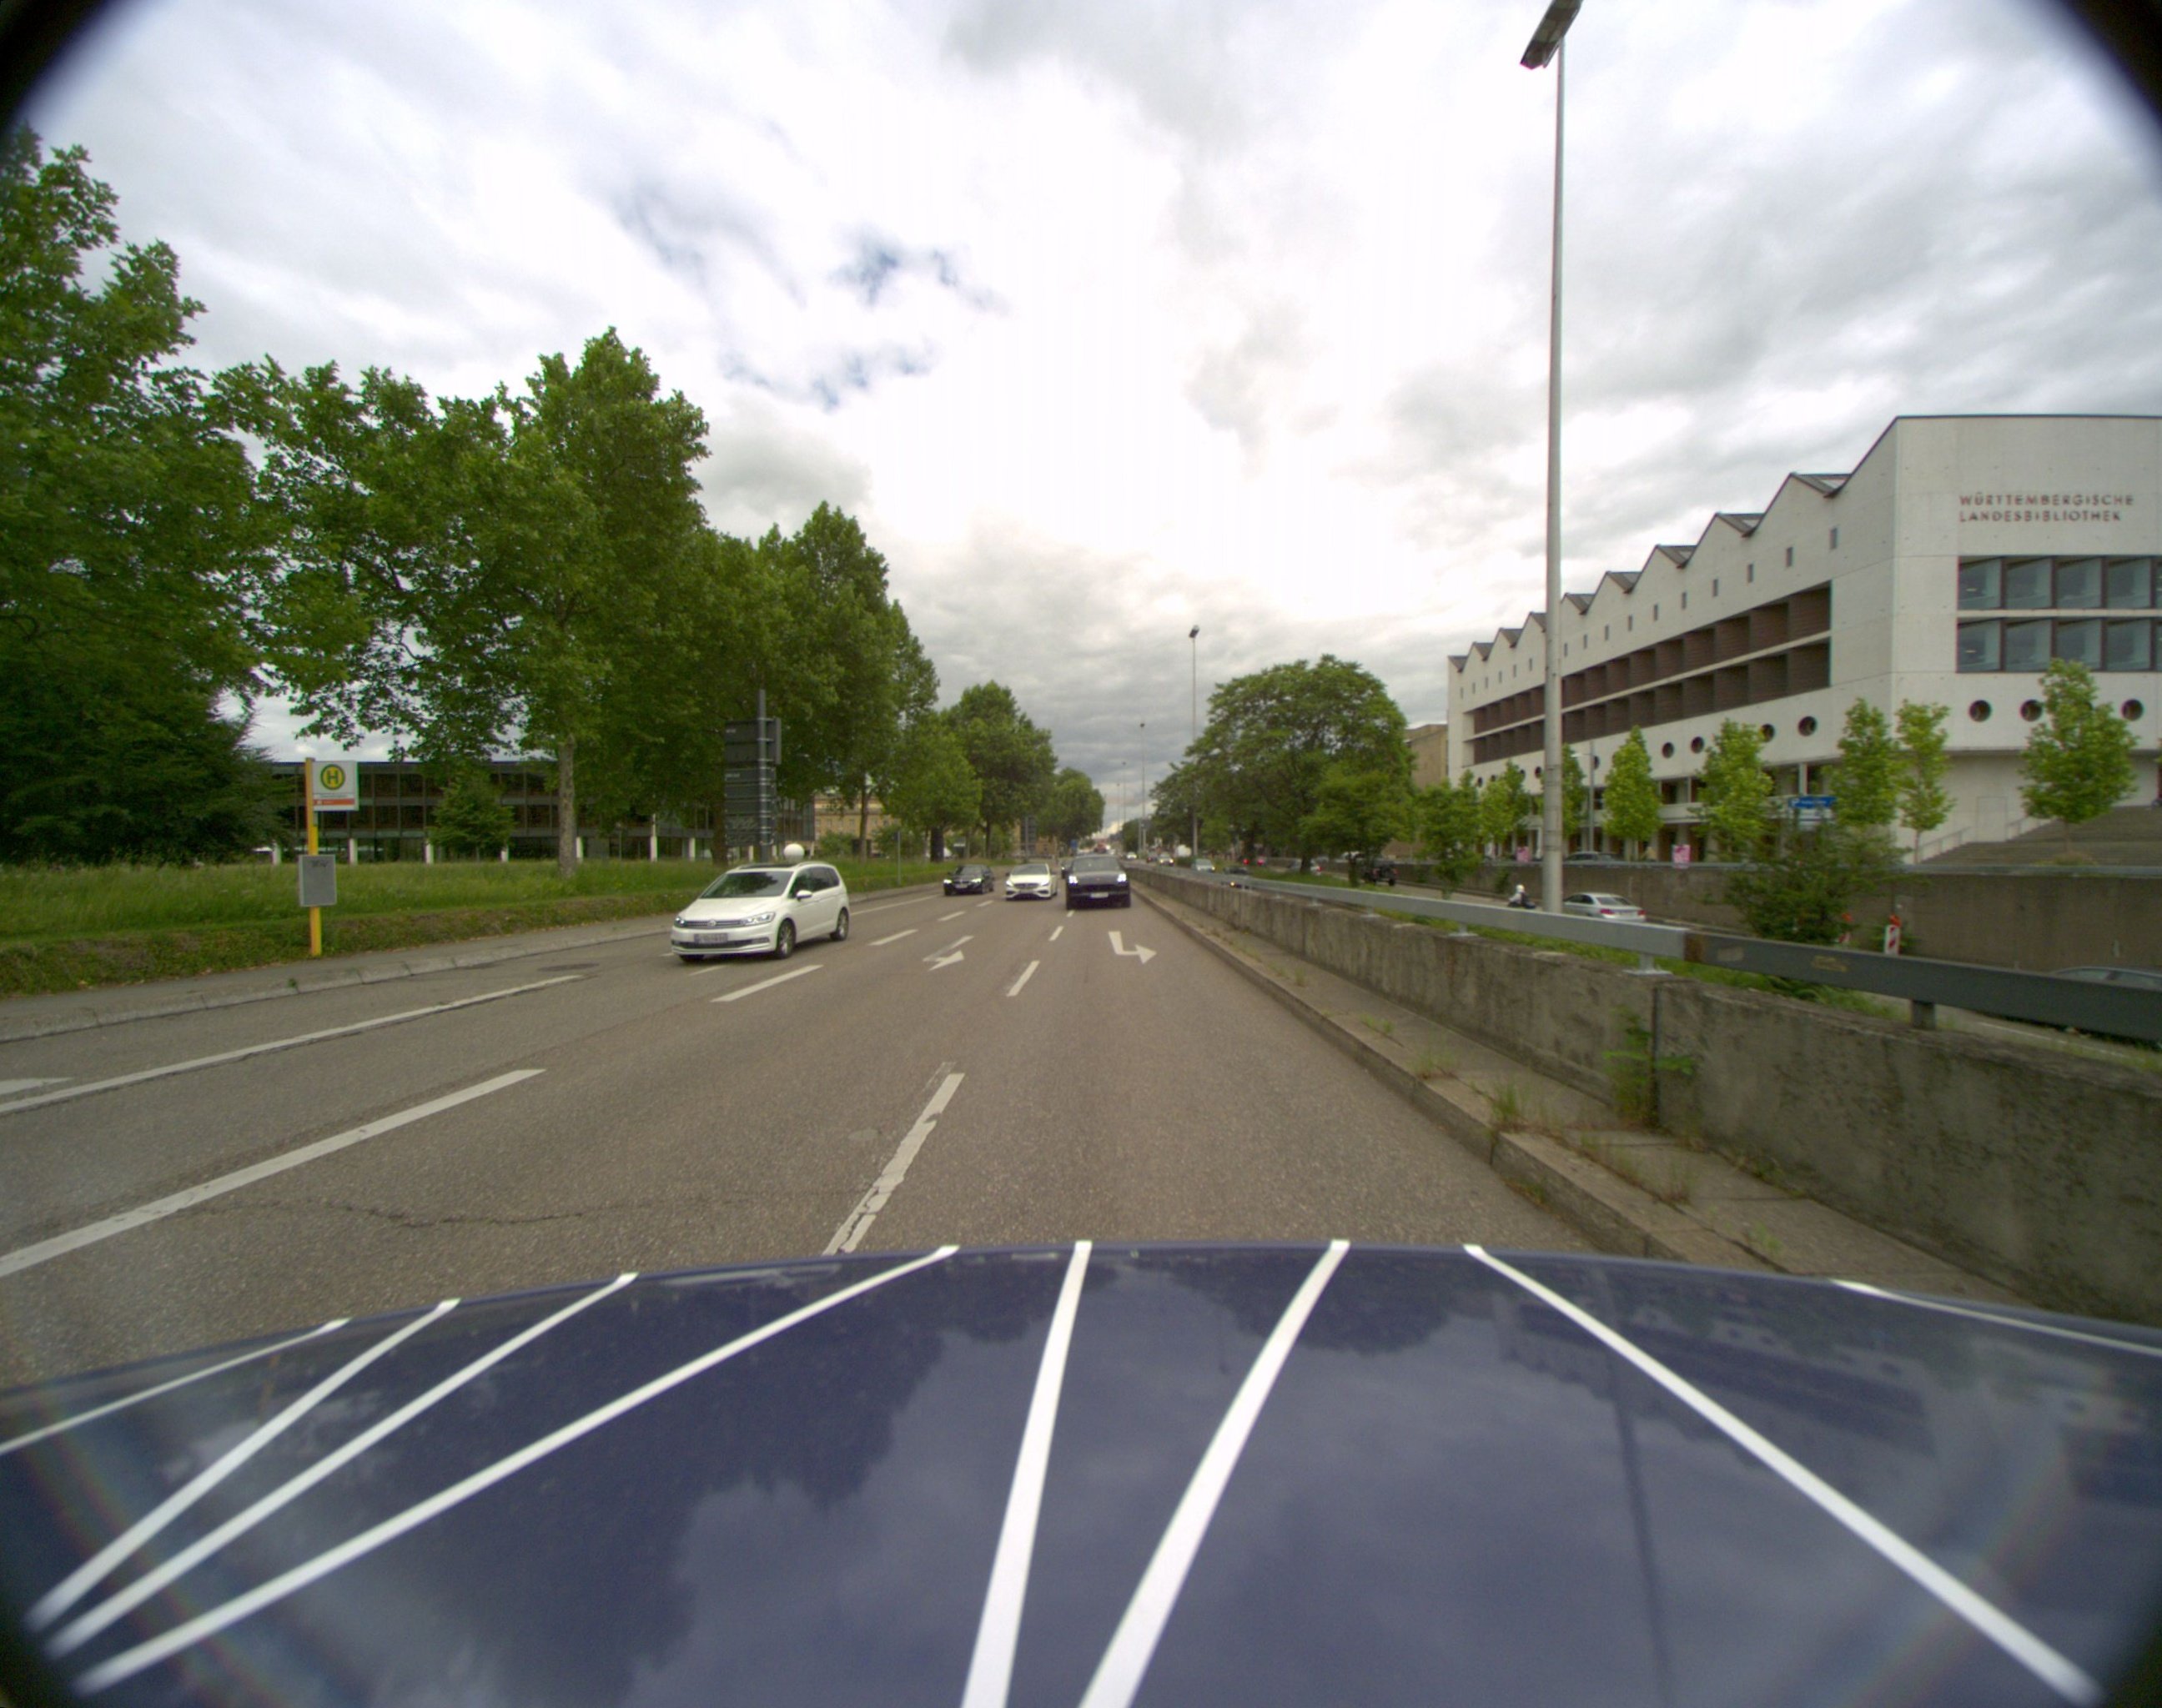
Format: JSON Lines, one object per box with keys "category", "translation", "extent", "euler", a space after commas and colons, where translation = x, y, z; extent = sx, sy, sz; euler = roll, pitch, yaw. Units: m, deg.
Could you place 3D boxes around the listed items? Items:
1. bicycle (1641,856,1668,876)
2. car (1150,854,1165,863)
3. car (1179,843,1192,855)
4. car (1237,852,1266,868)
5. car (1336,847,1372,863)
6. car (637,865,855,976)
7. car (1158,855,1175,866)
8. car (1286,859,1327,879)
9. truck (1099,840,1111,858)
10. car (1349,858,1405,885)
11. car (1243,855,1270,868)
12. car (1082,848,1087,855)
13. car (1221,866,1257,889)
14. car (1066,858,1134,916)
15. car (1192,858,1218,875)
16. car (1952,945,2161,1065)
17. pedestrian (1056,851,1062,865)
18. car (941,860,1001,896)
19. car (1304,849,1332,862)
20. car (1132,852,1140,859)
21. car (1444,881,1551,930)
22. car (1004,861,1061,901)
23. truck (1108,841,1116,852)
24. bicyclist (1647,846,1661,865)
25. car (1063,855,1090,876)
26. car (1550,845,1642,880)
{"category": "bicycle", "translation": [37.058, 0.759, 49.105], "extent": [0.403, 1.265, 1.699], "euler": [-3, 1, -1]}
{"category": "car", "translation": [11.743, 0.690, 117.123], "extent": [1.787, 1.406, 4.092], "euler": [-1, 0, 0]}
{"category": "car", "translation": [17.450, -0.837, 126.858], "extent": [1.609, 1.844, 4.000], "euler": [-3, 1, 1]}
{"category": "car", "translation": [16.751, 0.558, 74.889], "extent": [1.998, 1.390, 4.000], "euler": [2, 0, 0]}
{"category": "car", "translation": [28.327, 0.110, 79.037], "extent": [1.955, 1.619, 4.490], "euler": [-1, 0, -3]}
{"category": "car", "translation": [-5.895, 1.075, 14.070], "extent": [1.998, 1.630, 4.304], "euler": [-1, 0, 1]}
{"category": "car", "translation": [10.869, 0.798, 96.837], "extent": [1.657, 1.406, 4.092], "euler": [-1, 0, 0]}
{"category": "car", "translation": [17.638, 1.163, 59.633], "extent": [1.998, 1.390, 4.000], "euler": [2, 0, 0]}
{"category": "truck", "translation": [4.981, -1.108, 158.531], "extent": [2.357, 3.517, 9.425], "euler": [-3, 1, 2]}
{"category": "car", "translation": [20.968, 1.199, 54.039], "extent": [2.161, 1.635, 4.515], "euler": [2, 2, -1]}
{"category": "car", "translation": [19.868, 0.857, 86.116], "extent": [1.999, 1.390, 3.999], "euler": [2, 0, -2]}
{"category": "car", "translation": [1.163, -0.817, 252.747], "extent": [1.693, 2.002, 4.000], "euler": [-3, 1, 2]}
{"category": "car", "translation": [10.668, 1.549, 51.415], "extent": [1.559, 1.406, 4.092], "euler": [-1, 0, 0]}
{"category": "car", "translation": [0.659, 0.958, 23.939], "extent": [1.904, 1.580, 4.733], "euler": [-1, 0, 3]}
{"category": "car", "translation": [10.919, 1.073, 67.136], "extent": [1.559, 1.406, 4.092], "euler": [-1, 0, -1]}
{"category": "car", "translation": [20.273, 2.923, 14.618], "extent": [1.874, 1.604, 4.388], "euler": [1, 3, 0]}
{"category": "pedestrian", "translation": [-3.216, 0.552, 112.207], "extent": [0.792, 2.001, 0.741], "euler": [-1, -1, 2]}
{"category": "car", "translation": [-5.201, 1.109, 36.525], "extent": [1.936, 1.451, 4.527], "euler": [-2, 1, 3]}
{"category": "car", "translation": [29.761, 0.190, 95.685], "extent": [1.955, 1.619, 4.490], "euler": [-1, 0, -3]}
{"category": "car", "translation": [11.204, 0.349, 154.988], "extent": [1.372, 1.390, 3.722], "euler": [2, 0, 0]}
{"category": "car", "translation": [17.386, 2.087, 32.040], "extent": [1.998, 1.665, 4.517], "euler": [2, 0, 0]}
{"category": "car", "translation": [-1.891, 1.036, 30.767], "extent": [1.799, 1.411, 4.527], "euler": [-1, 0, 2]}
{"category": "truck", "translation": [10.378, -2.519, 255.494], "extent": [2.576, 3.288, 8.080], "euler": [-3, 1, 2]}
{"category": "bicyclist", "translation": [37.028, 0.085, 49.077], "extent": [0.403, 1.153, 0.643], "euler": [-3, 1, -1]}
{"category": "car", "translation": [-0.323, 0.878, 58.369], "extent": [1.852, 1.481, 4.092], "euler": [-1, 0, 2]}
{"category": "car", "translation": [27.059, 0.400, 40.096], "extent": [1.841, 1.574, 4.273], "euler": [2, 2, 0]}
